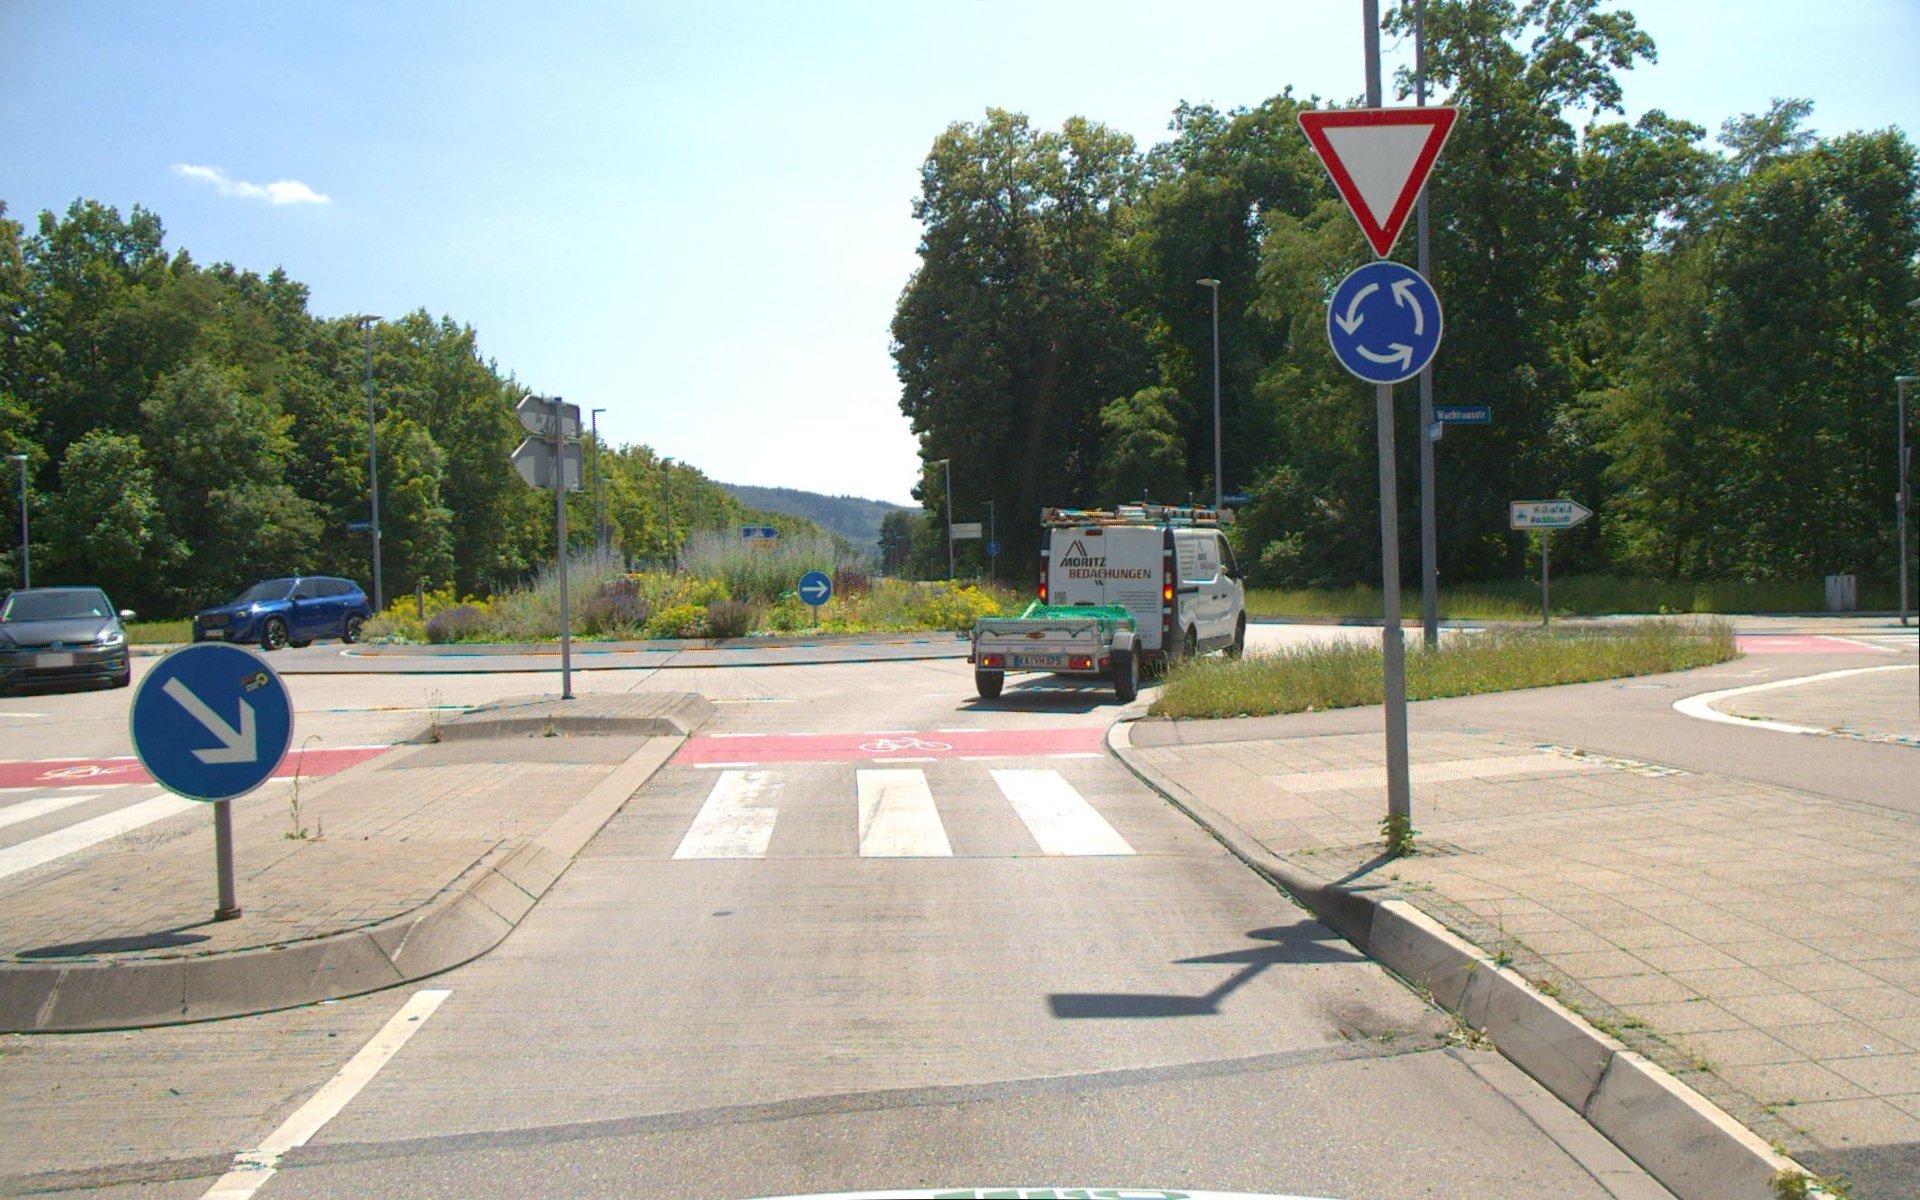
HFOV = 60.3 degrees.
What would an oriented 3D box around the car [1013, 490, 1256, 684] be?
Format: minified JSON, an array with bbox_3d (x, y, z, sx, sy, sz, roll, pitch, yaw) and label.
[{"bbox_3d":[2.555,-0.179,22.811,2.121,2.357,4.982,0,0,21],"label":"car"}]

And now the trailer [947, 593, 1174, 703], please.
[{"bbox_3d":[1.249,0.502,18.987,2.076,1.116,3.357,0,0,13],"label":"trailer"}]

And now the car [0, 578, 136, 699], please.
[{"bbox_3d":[-13.108,0.510,23.974,1.971,1.504,4.250,-4,2,-27],"label":"car"}]

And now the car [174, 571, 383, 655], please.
[{"bbox_3d":[-15.442,0.251,37.730,1.952,1.623,4.324,-1,3,20],"label":"car"}]
